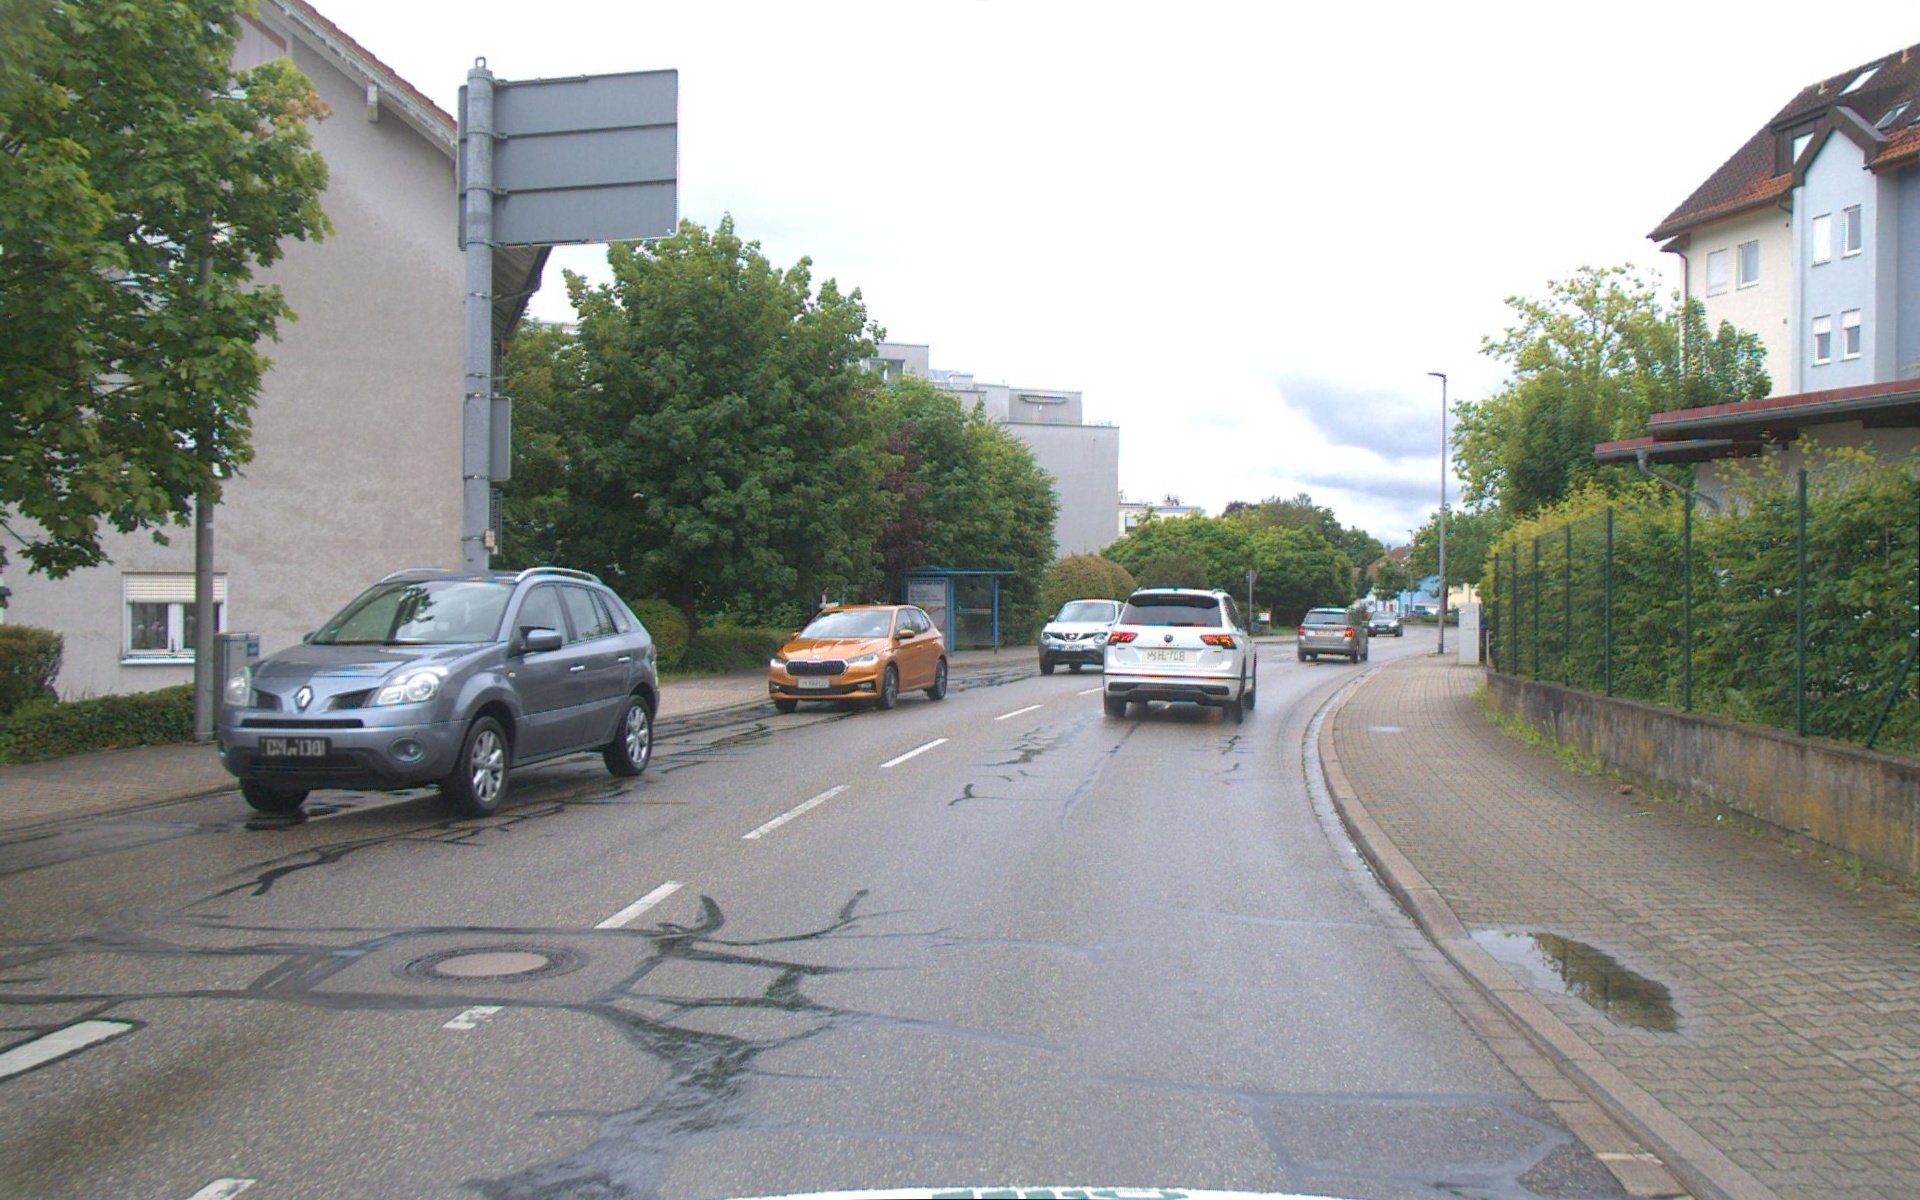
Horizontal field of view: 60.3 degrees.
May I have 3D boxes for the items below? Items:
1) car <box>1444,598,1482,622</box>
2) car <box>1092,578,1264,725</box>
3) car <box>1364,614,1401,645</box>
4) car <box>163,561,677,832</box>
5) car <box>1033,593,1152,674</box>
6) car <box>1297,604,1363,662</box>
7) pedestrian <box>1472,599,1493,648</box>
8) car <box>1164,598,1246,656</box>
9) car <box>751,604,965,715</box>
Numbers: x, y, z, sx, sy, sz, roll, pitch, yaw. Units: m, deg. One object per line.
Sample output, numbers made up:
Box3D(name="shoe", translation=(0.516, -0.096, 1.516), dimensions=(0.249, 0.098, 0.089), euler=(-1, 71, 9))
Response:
Box3D(name="car", translation=(33.960, 0.722, 111.775), dimensions=(1.962, 1.482, 4.003), euler=(0, -2, 9))
Box3D(name="car", translation=(3.056, 0.612, 22.418), dimensions=(1.880, 1.752, 4.268), euler=(1, 1, 13))
Box3D(name="car", translation=(23.820, 1.614, 93.157), dimensions=(1.861, 1.686, 4.117), euler=(0, 0, 17))
Box3D(name="car", translation=(-3.817, 0.603, 12.596), dimensions=(1.861, 1.686, 4.270), euler=(0, 0, 11))
Box3D(name="car", translation=(3.006, 0.707, 36.829), dimensions=(1.861, 1.686, 4.118), euler=(0, 0, 16))
Box3D(name="car", translation=(10.435, 0.963, 46.485), dimensions=(1.727, 1.536, 4.002), euler=(0, -2, 14))
Box3D(name="pedestrian", translation=(18.178, 0.824, 57.543), dimensions=(0.559, 1.701, 0.721), euler=(-1, -3, 28))
Box3D(name="car", translation=(7.229, 0.754, 48.496), dimensions=(1.861, 1.617, 4.118), euler=(0, 0, 16))
Box3D(name="car", translation=(-1.385, 0.800, 24.256), dimensions=(1.861, 1.465, 4.118), euler=(0, 0, 16))
